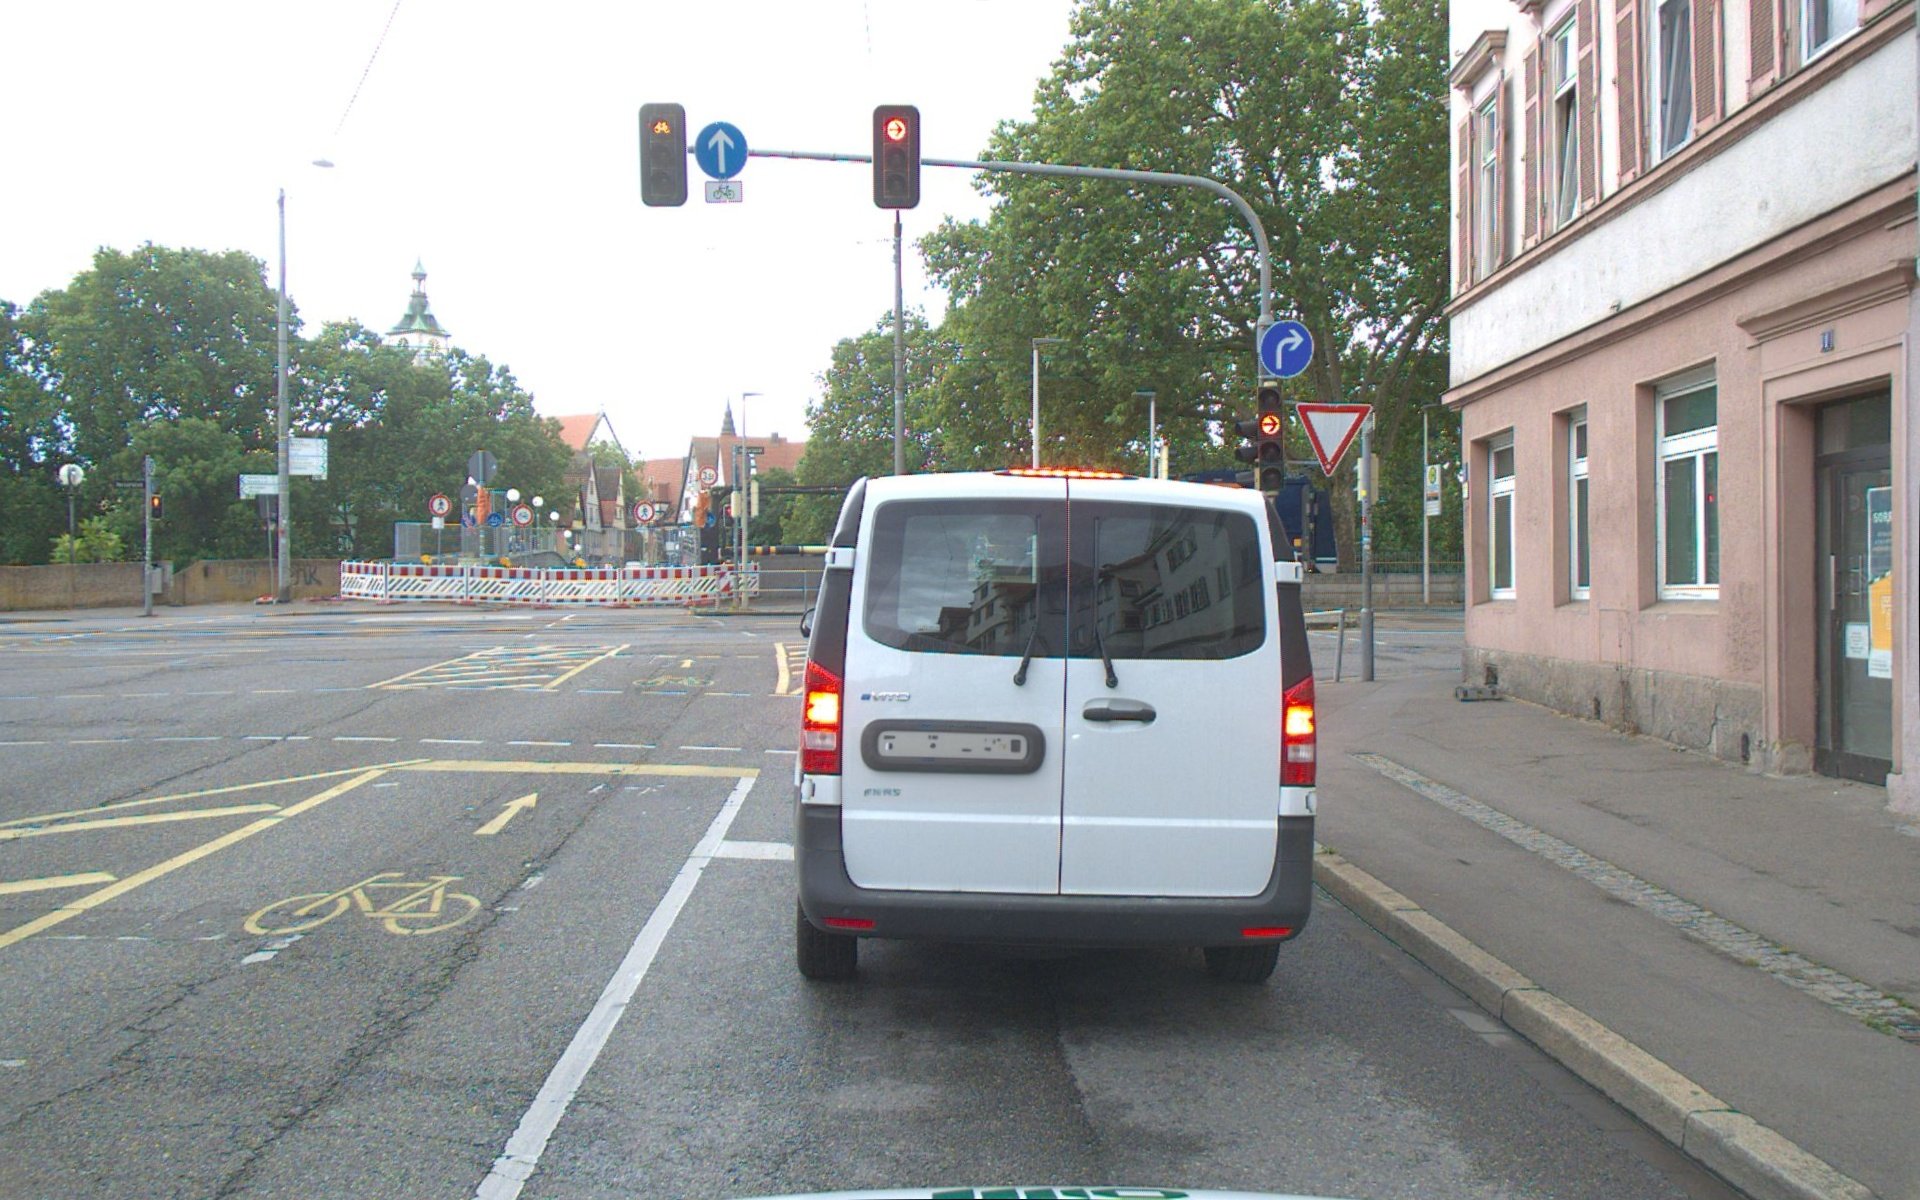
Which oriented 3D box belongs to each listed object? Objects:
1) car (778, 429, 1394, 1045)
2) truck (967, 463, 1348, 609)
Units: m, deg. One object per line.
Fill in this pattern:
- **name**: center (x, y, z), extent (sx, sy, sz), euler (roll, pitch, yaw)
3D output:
- **car**: center (0.303, 0.375, 7.414), extent (1.954, 1.956, 4.247), euler (1, 2, -3)
- **truck**: center (5.304, -1.674, 44.655), extent (9.999, 3.760, 2.266), euler (0, 0, -10)
